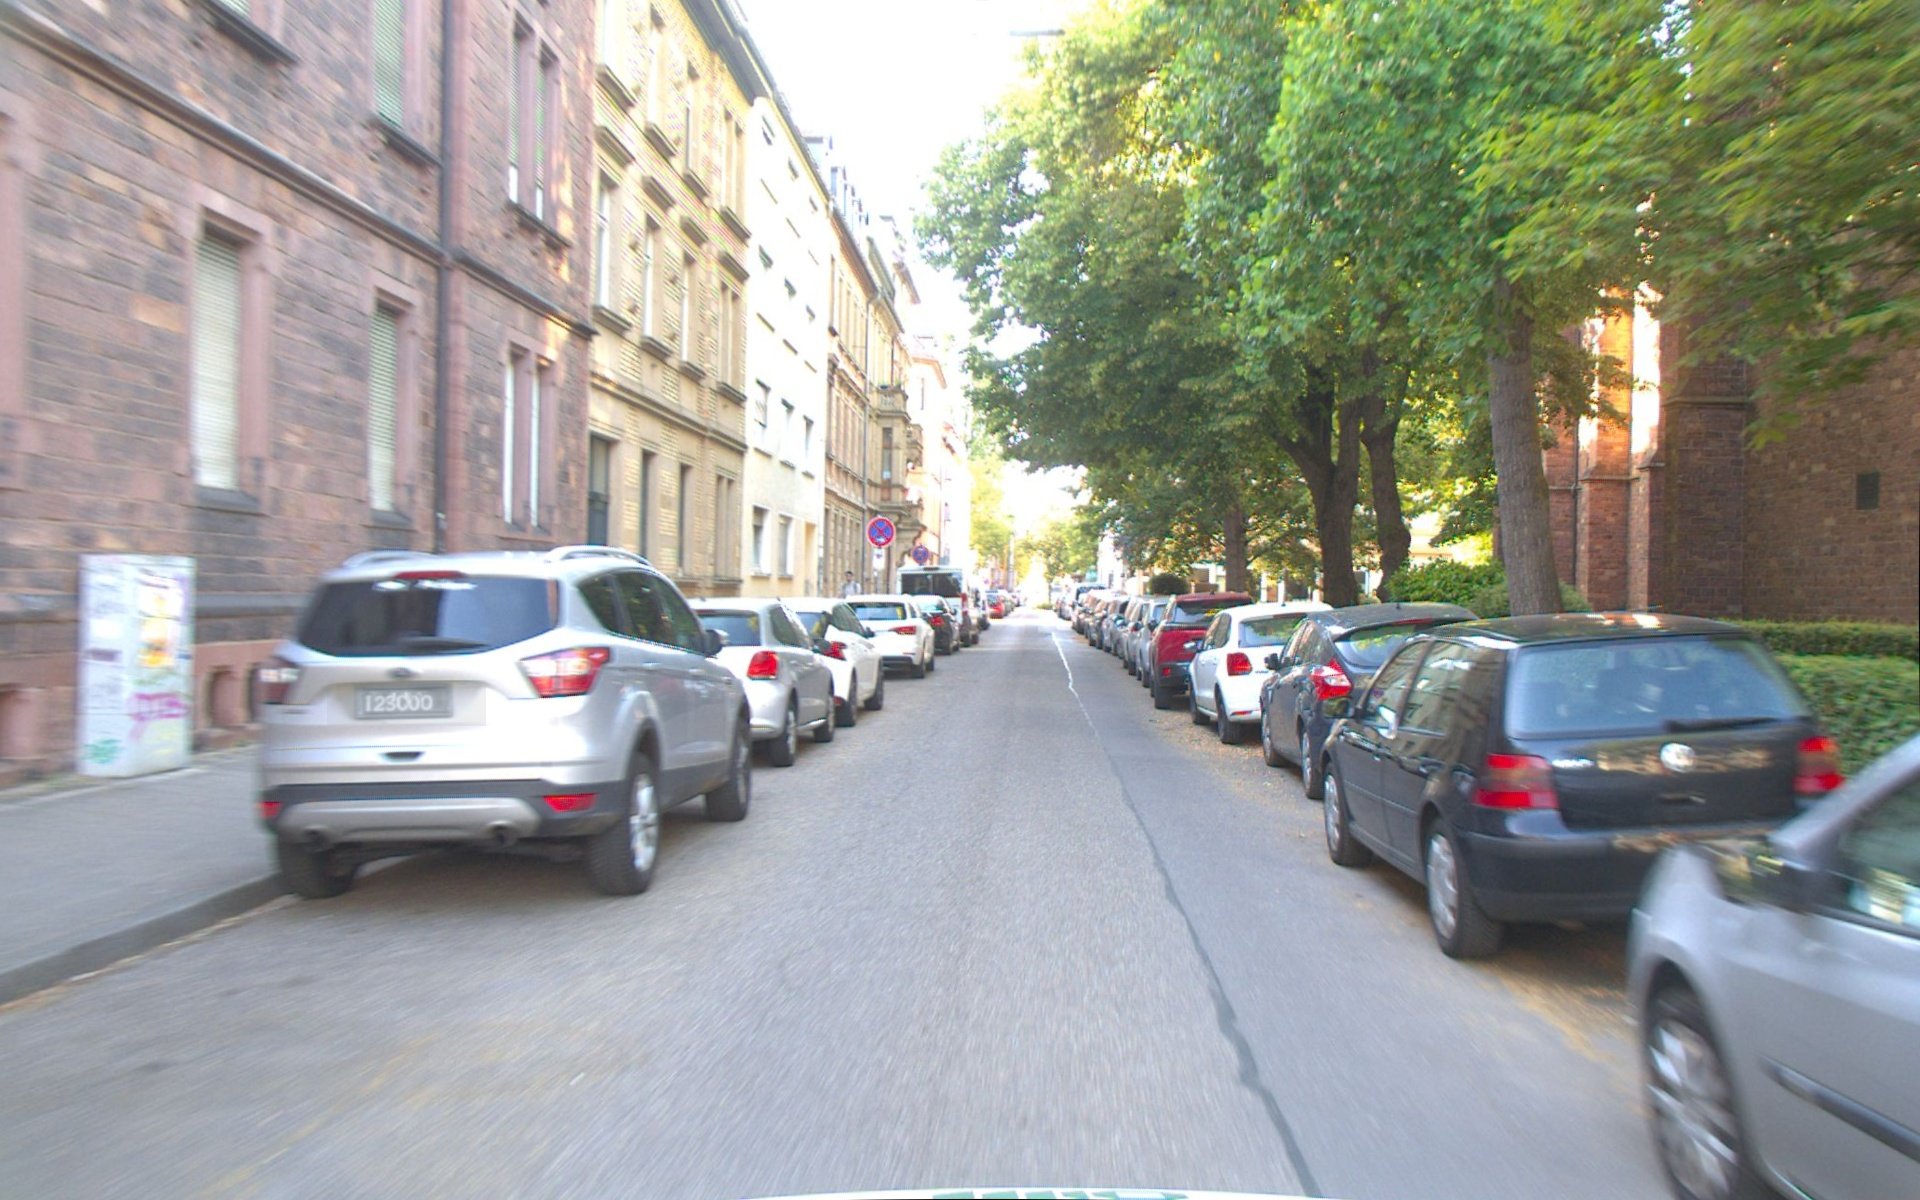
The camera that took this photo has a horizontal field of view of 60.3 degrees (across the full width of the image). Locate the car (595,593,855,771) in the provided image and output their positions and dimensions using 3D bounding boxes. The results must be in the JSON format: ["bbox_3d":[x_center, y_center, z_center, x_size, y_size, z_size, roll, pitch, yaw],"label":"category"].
[{"bbox_3d":[-2.084,0.703,15.678,1.673,1.442,3.804,-2,-1,3],"label":"car"}]

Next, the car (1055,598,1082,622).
[{"bbox_3d":[7.334,0.680,111.967,1.641,1.533,3.938,-1,0,2],"label":"car"}]

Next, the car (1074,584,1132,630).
[{"bbox_3d":[5.518,0.294,64.176,1.704,1.631,4.262,-4,-1,-1],"label":"car"}]

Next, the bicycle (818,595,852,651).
[{"bbox_3d":[-2.967,0.537,39.394,0.558,1.265,1.845,3,0,2],"label":"bicycle"}]

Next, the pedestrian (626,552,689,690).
[{"bbox_3d":[-4.394,0.299,24.050,0.750,1.962,0.763,1,0,-1],"label":"pedestrian"}]

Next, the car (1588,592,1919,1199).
[{"bbox_3d":[2.656,0.742,2.936,1.673,1.546,3.832,-1,-1,1],"label":"car"}]

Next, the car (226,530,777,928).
[{"bbox_3d":[-2.261,0.591,9.394,1.673,1.703,4.279,-2,-1,3],"label":"car"}]

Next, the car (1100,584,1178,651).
[{"bbox_3d":[4.580,0.455,42.708,1.566,1.531,3.628,-4,-1,0],"label":"car"}]

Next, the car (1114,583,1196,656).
[{"bbox_3d":[4.459,0.441,38.155,1.566,1.493,3.565,-4,-1,3],"label":"car"}]

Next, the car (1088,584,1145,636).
[{"bbox_3d":[5.065,0.344,53.934,1.585,1.512,3.777,-4,-1,2],"label":"car"}]

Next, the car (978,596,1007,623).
[{"bbox_3d":[1.926,0.545,97.416,1.594,1.507,3.602,-1,0,2],"label":"car"}]

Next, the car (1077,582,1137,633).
[{"bbox_3d":[5.134,0.286,58.283,1.586,1.653,3.862,-4,-1,-1],"label":"car"}]

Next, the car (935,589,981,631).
[{"bbox_3d":[-0.074,0.373,63.418,1.658,1.540,3.973,-1,0,0],"label":"car"}]

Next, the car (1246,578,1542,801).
[{"bbox_3d":[3.580,0.690,14.362,1.629,1.546,4.062,-4,-1,3],"label":"car"}]

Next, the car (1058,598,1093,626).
[{"bbox_3d":[6.735,0.694,96.990,1.708,1.533,4.357,-1,0,0],"label":"car"}]

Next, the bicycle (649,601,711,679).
[{"bbox_3d":[-4.456,0.610,26.392,0.558,1.168,1.845,3,0,2],"label":"bicycle"}]

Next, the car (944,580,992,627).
[{"bbox_3d":[0.357,0.145,68.309,1.793,1.843,4.573,-1,0,2],"label":"car"}]

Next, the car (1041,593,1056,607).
[{"bbox_3d":[10.026,0.048,187.235,1.641,1.513,3.639,-1,0,2],"label":"car"}]

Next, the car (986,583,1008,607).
[{"bbox_3d":[2.959,-0.390,131.696,1.728,1.816,4.040,-1,0,2],"label":"car"}]

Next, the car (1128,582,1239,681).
[{"bbox_3d":[3.902,0.543,29.371,1.566,1.531,3.721,-4,-1,3],"label":"car"}]

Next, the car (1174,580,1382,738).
[{"bbox_3d":[3.596,0.646,19.360,1.630,1.546,3.952,-4,-1,1],"label":"car"}]

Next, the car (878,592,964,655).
[{"bbox_3d":[-0.917,0.549,41.018,1.694,1.426,4.317,-1,0,4],"label":"car"}]

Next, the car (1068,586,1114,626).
[{"bbox_3d":[5.430,0.258,69.058,1.683,1.598,3.828,0,0,1],"label":"car"}]

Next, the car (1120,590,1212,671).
[{"bbox_3d":[4.137,0.612,33.671,1.565,1.496,3.870,-2,-1,3],"label":"car"}]

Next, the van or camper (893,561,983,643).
[{"bbox_3d":[-0.562,0.054,47.404,2.131,2.185,5.156,-1,0,4],"label":"van or camper"}]

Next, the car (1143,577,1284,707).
[{"bbox_3d":[3.625,0.583,24.214,1.629,1.613,4.102,-4,-1,4],"label":"car"}]

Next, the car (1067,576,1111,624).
[{"bbox_3d":[5.837,-0.002,74.574,1.874,2.033,4.794,-1,0,5],"label":"car"}]

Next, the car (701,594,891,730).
[{"bbox_3d":[-1.889,0.702,20.090,1.673,1.442,3.804,-2,-1,3],"label":"car"}]

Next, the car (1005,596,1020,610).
[{"bbox_3d":[6.090,0.372,191.224,1.641,1.513,4.095,-1,0,2],"label":"car"}]

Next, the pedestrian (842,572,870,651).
[{"bbox_3d":[-2.463,0.275,39.341,0.478,1.834,1.115,3,0,1],"label":"pedestrian"}]

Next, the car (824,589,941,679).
[{"bbox_3d":[-1.336,0.572,30.212,1.695,1.481,4.523,-1,0,2],"label":"car"}]

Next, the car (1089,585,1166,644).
[{"bbox_3d":[4.709,0.431,47.046,1.641,1.466,4.695,-4,-1,0],"label":"car"}]

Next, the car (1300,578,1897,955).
[{"bbox_3d":[2.927,0.679,8.528,1.588,1.461,4.003,-1,-1,1],"label":"car"}]
